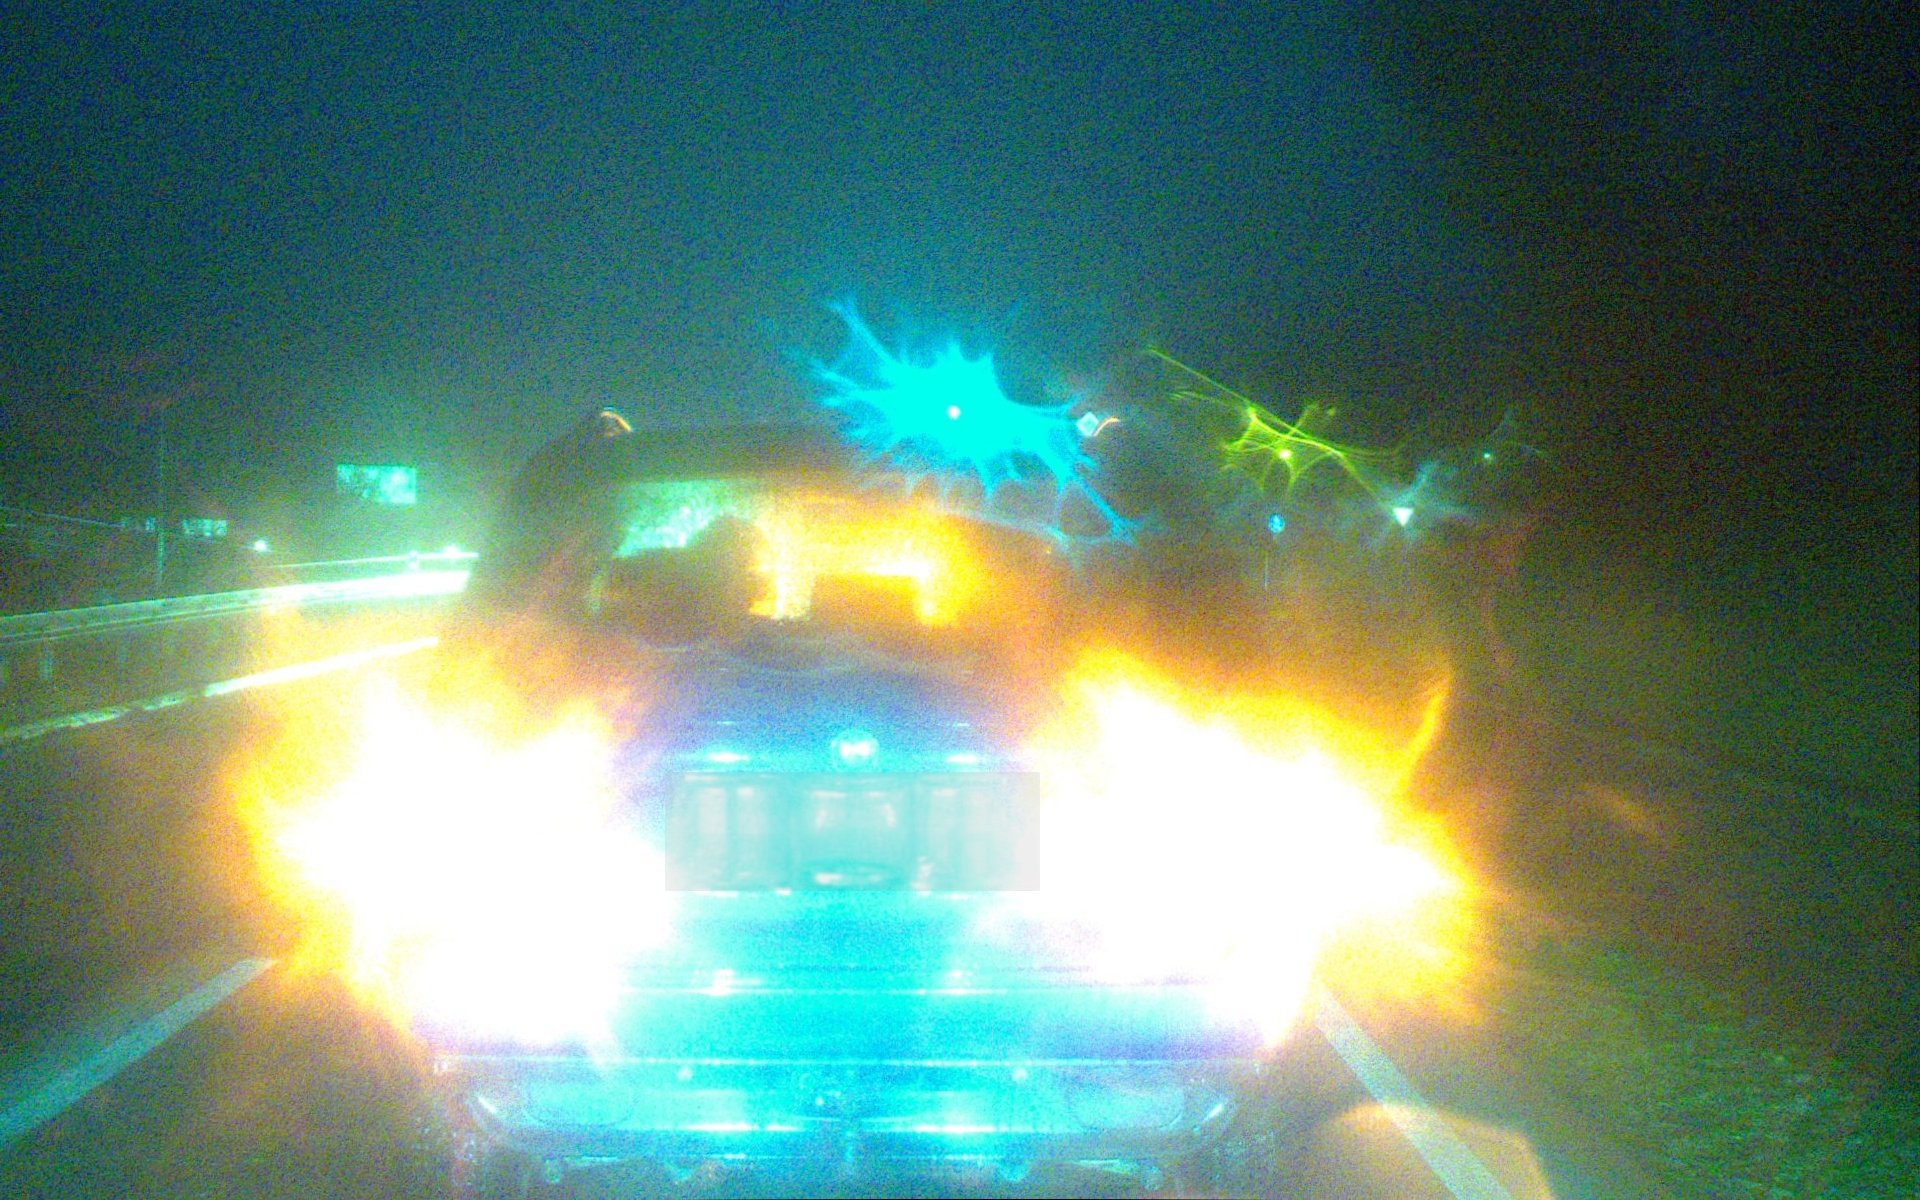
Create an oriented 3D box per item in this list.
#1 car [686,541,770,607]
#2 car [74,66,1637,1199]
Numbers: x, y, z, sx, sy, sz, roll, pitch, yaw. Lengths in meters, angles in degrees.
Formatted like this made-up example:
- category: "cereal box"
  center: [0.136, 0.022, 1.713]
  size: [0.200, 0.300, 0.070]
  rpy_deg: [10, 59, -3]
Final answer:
- category: "car"
  center: [-5.431, -0.625, 80.854]
  size: [1.544, 1.505, 3.880]
  rpy_deg: [1, 1, 2]
- category: "car"
  center: [-0.226, 0.164, 9.047]
  size: [2.715, 2.299, 6.101]
  rpy_deg: [0, 1, -1]
